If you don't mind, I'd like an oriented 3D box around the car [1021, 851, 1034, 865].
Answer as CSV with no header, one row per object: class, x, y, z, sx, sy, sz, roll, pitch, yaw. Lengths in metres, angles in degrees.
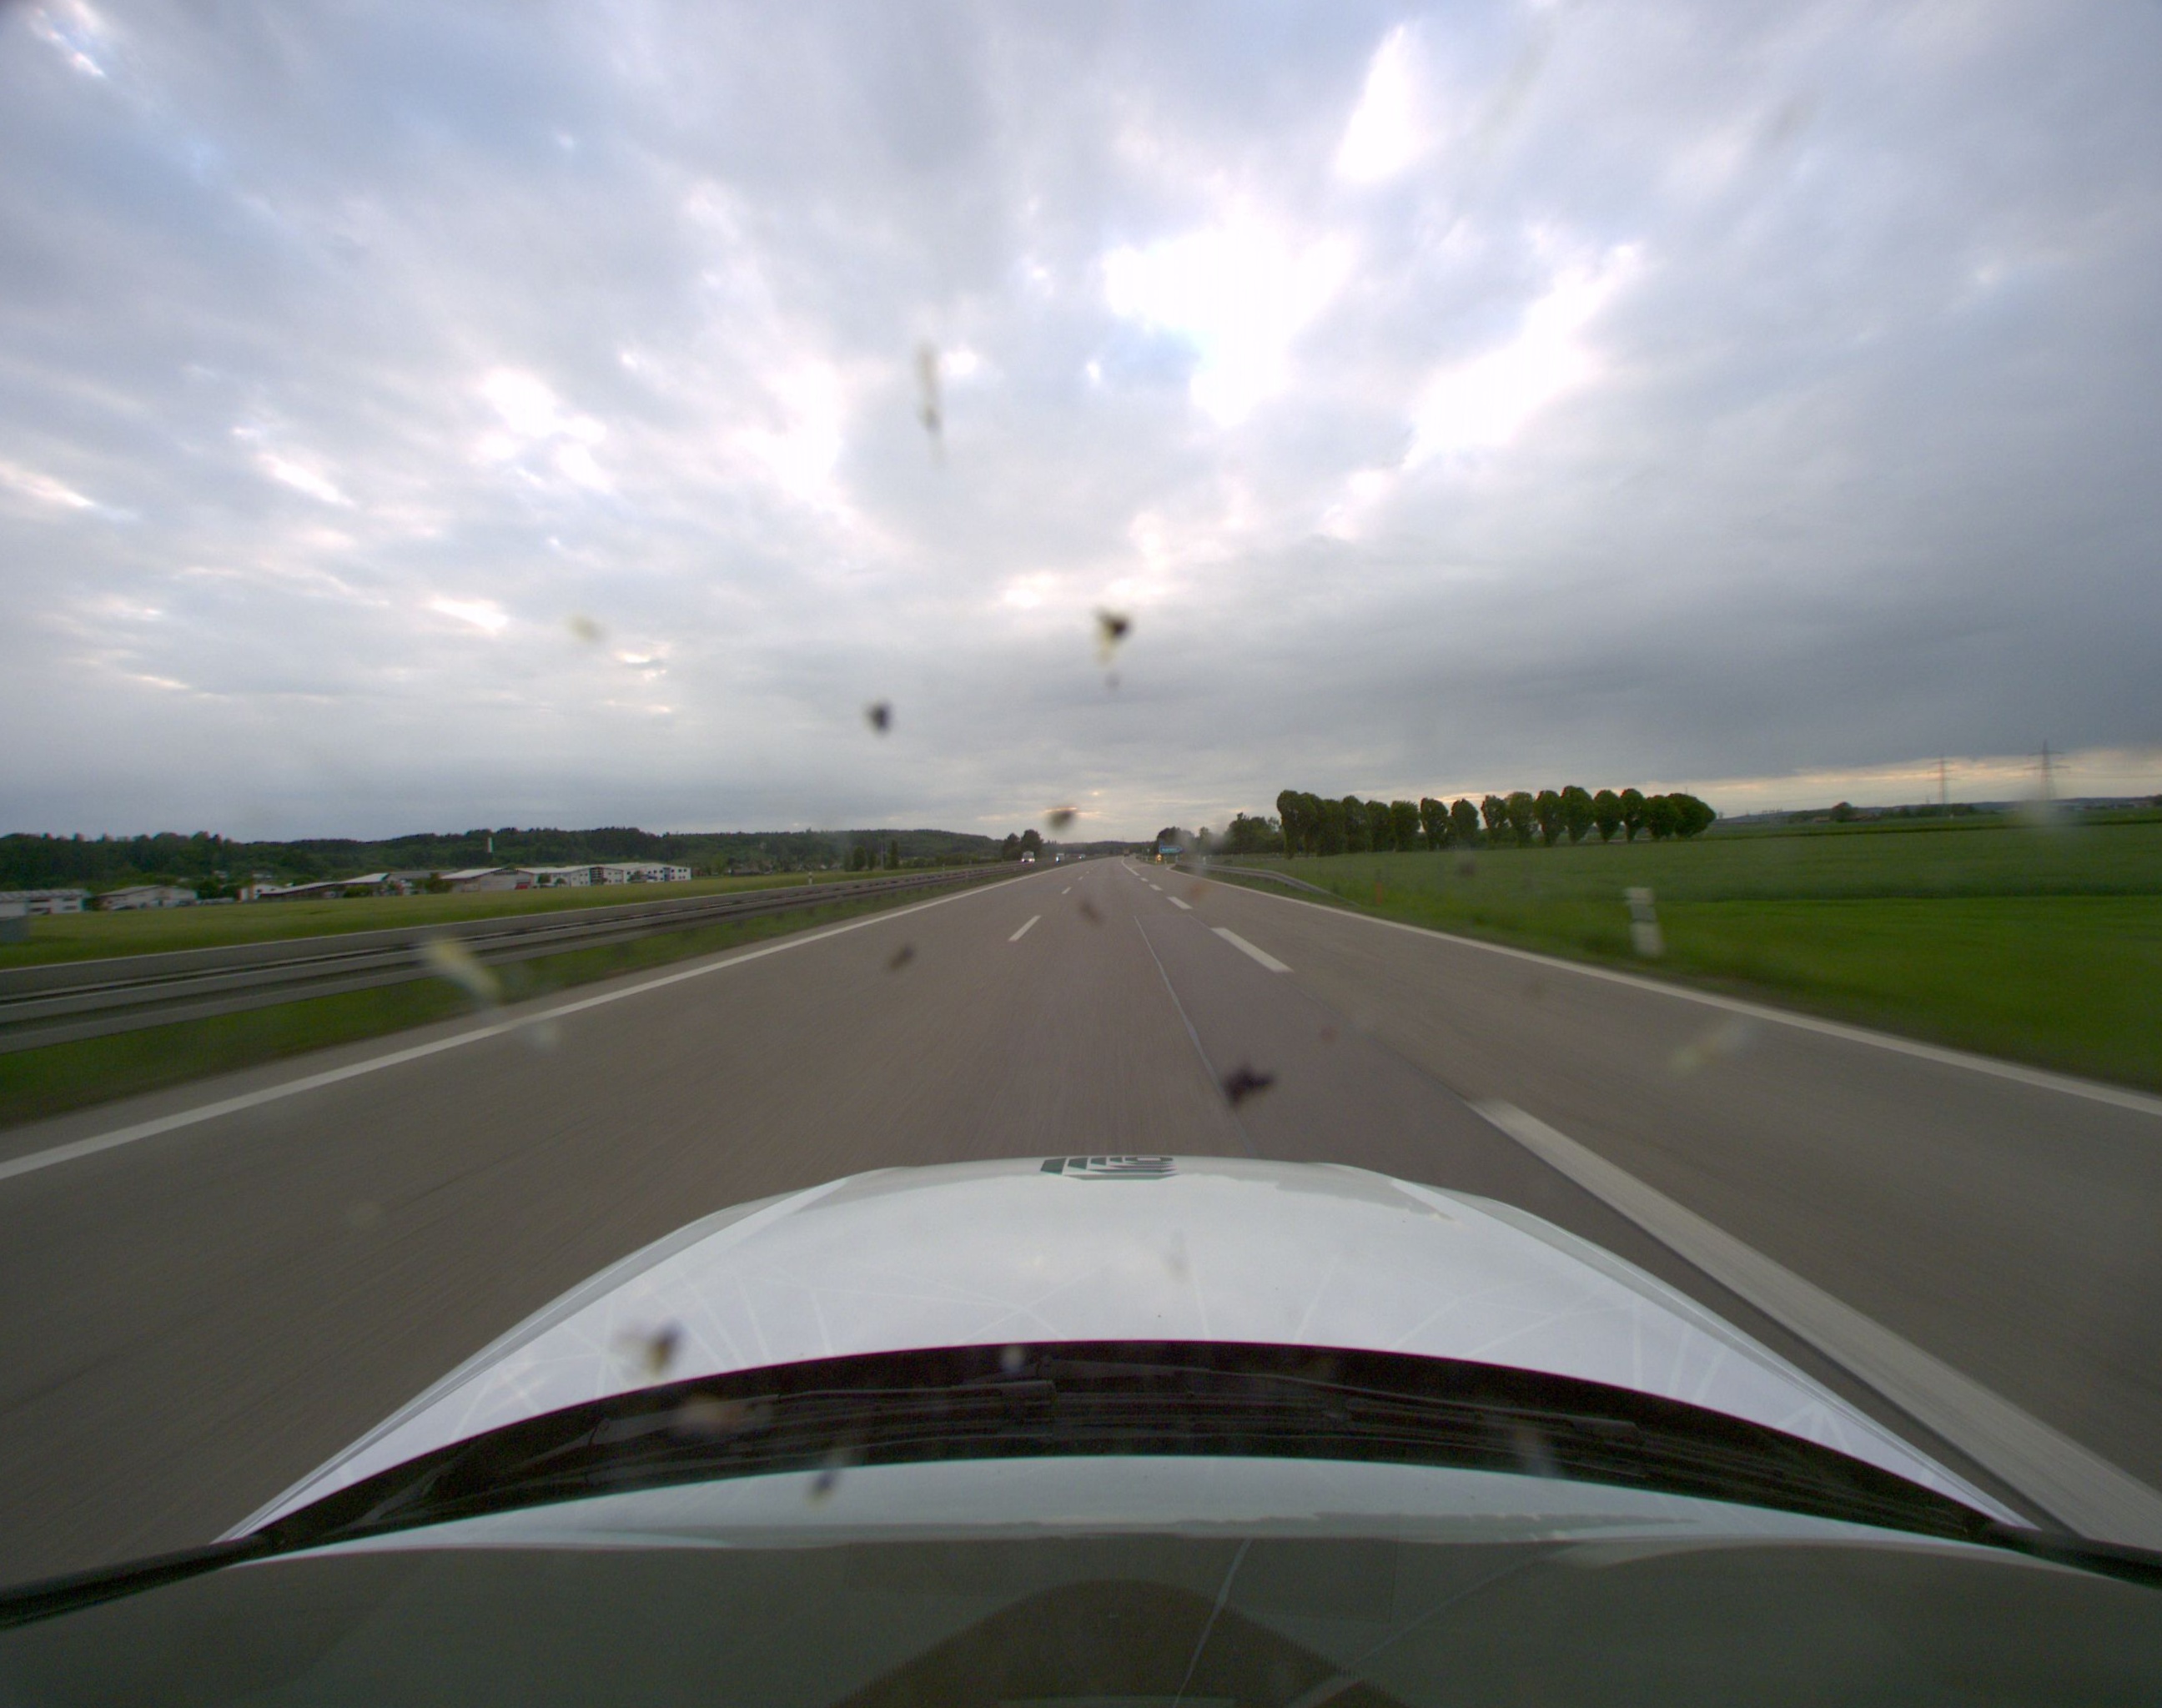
car,-11.077,0.766,169.658,2.097,2.800,6.431,-1,0,2
